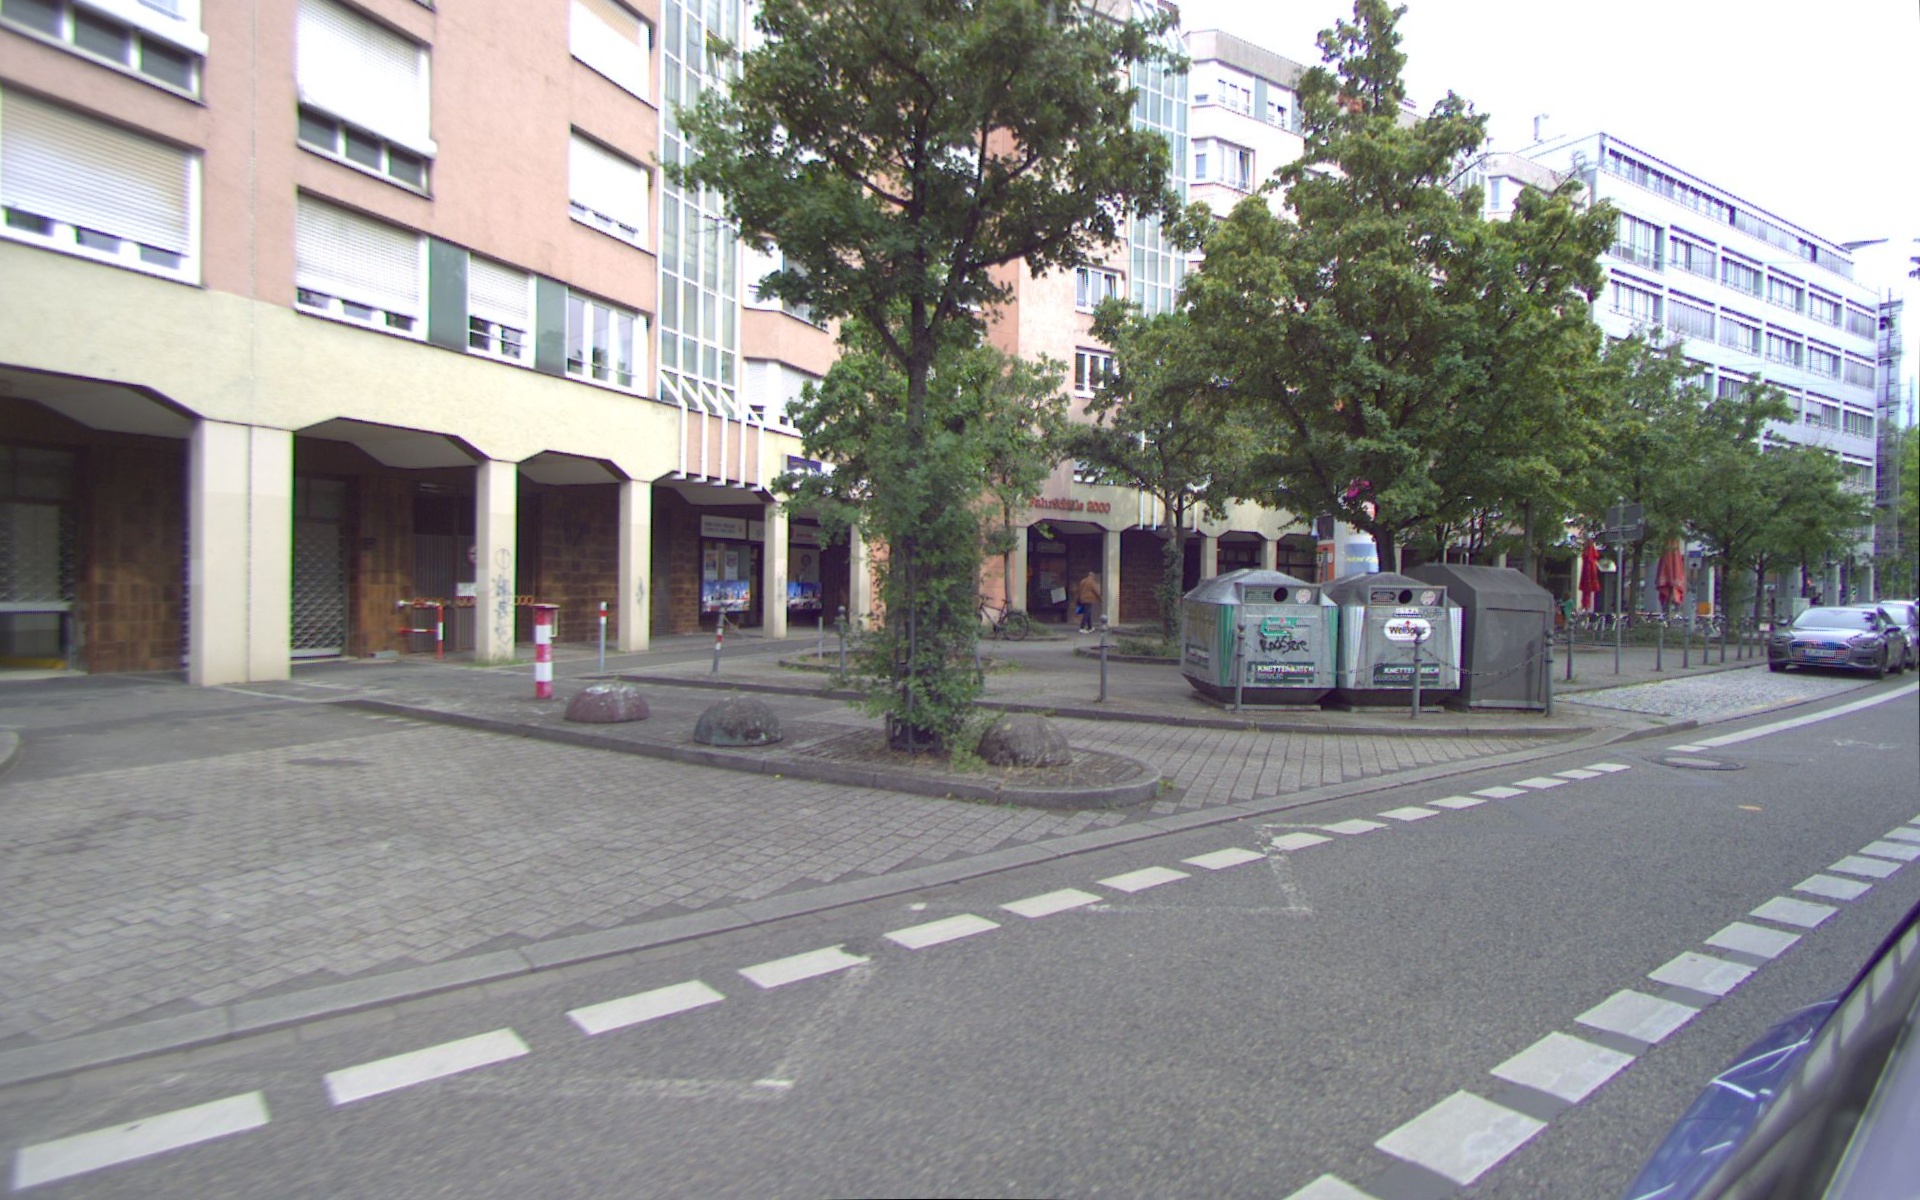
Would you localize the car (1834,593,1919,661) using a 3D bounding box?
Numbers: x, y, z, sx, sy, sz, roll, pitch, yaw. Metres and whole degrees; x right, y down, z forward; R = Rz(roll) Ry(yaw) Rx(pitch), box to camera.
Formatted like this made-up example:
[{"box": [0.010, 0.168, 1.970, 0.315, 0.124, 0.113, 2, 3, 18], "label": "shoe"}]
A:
[{"box": [23.642, 0.650, 25.596, 4.325, 1.537, 1.743, 0, 2, -42], "label": "car"}]

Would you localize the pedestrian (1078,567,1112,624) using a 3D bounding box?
[{"box": [4.005, -0.132, 30.052, 0.834, 1.683, 0.535, 1, 0, -30], "label": "pedestrian"}]

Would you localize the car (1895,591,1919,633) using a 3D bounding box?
[{"box": [39.237, 0.524, 40.538, 4.224, 1.596, 1.781, 1, 3, -36], "label": "car"}]

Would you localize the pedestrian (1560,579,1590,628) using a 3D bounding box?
[{"box": [20.332, 0.105, 33.468, 0.668, 1.606, 0.608, 1, 0, -33], "label": "pedestrian"}]

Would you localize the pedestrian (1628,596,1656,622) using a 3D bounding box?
[{"box": [30.861, 0.401, 45.772, 0.685, 1.171, 0.824, 1, 0, -31], "label": "pedestrian"}]

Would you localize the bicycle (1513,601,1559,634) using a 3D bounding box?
[{"box": [18.062, 0.538, 31.706, 1.826, 1.025, 0.487, 0, 0, -34], "label": "bicycle"}]

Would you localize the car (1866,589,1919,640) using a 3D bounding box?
[{"box": [33.500, 0.507, 35.548, 4.089, 1.674, 1.866, 0, 2, -40], "label": "car"}]

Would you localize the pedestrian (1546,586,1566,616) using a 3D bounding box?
[{"box": [24.165, 0.042, 41.003, 0.447, 1.191, 0.518, 1, 0, -14], "label": "pedestrian"}]

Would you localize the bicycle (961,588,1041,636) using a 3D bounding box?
[{"box": [1.015, 0.283, 24.912, 1.928, 1.126, 0.597, 1, 0, 3], "label": "bicycle"}]

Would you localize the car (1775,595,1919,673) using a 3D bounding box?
[{"box": [19.380, 0.655, 21.928, 4.583, 1.460, 1.820, 0, 2, -40], "label": "car"}]
